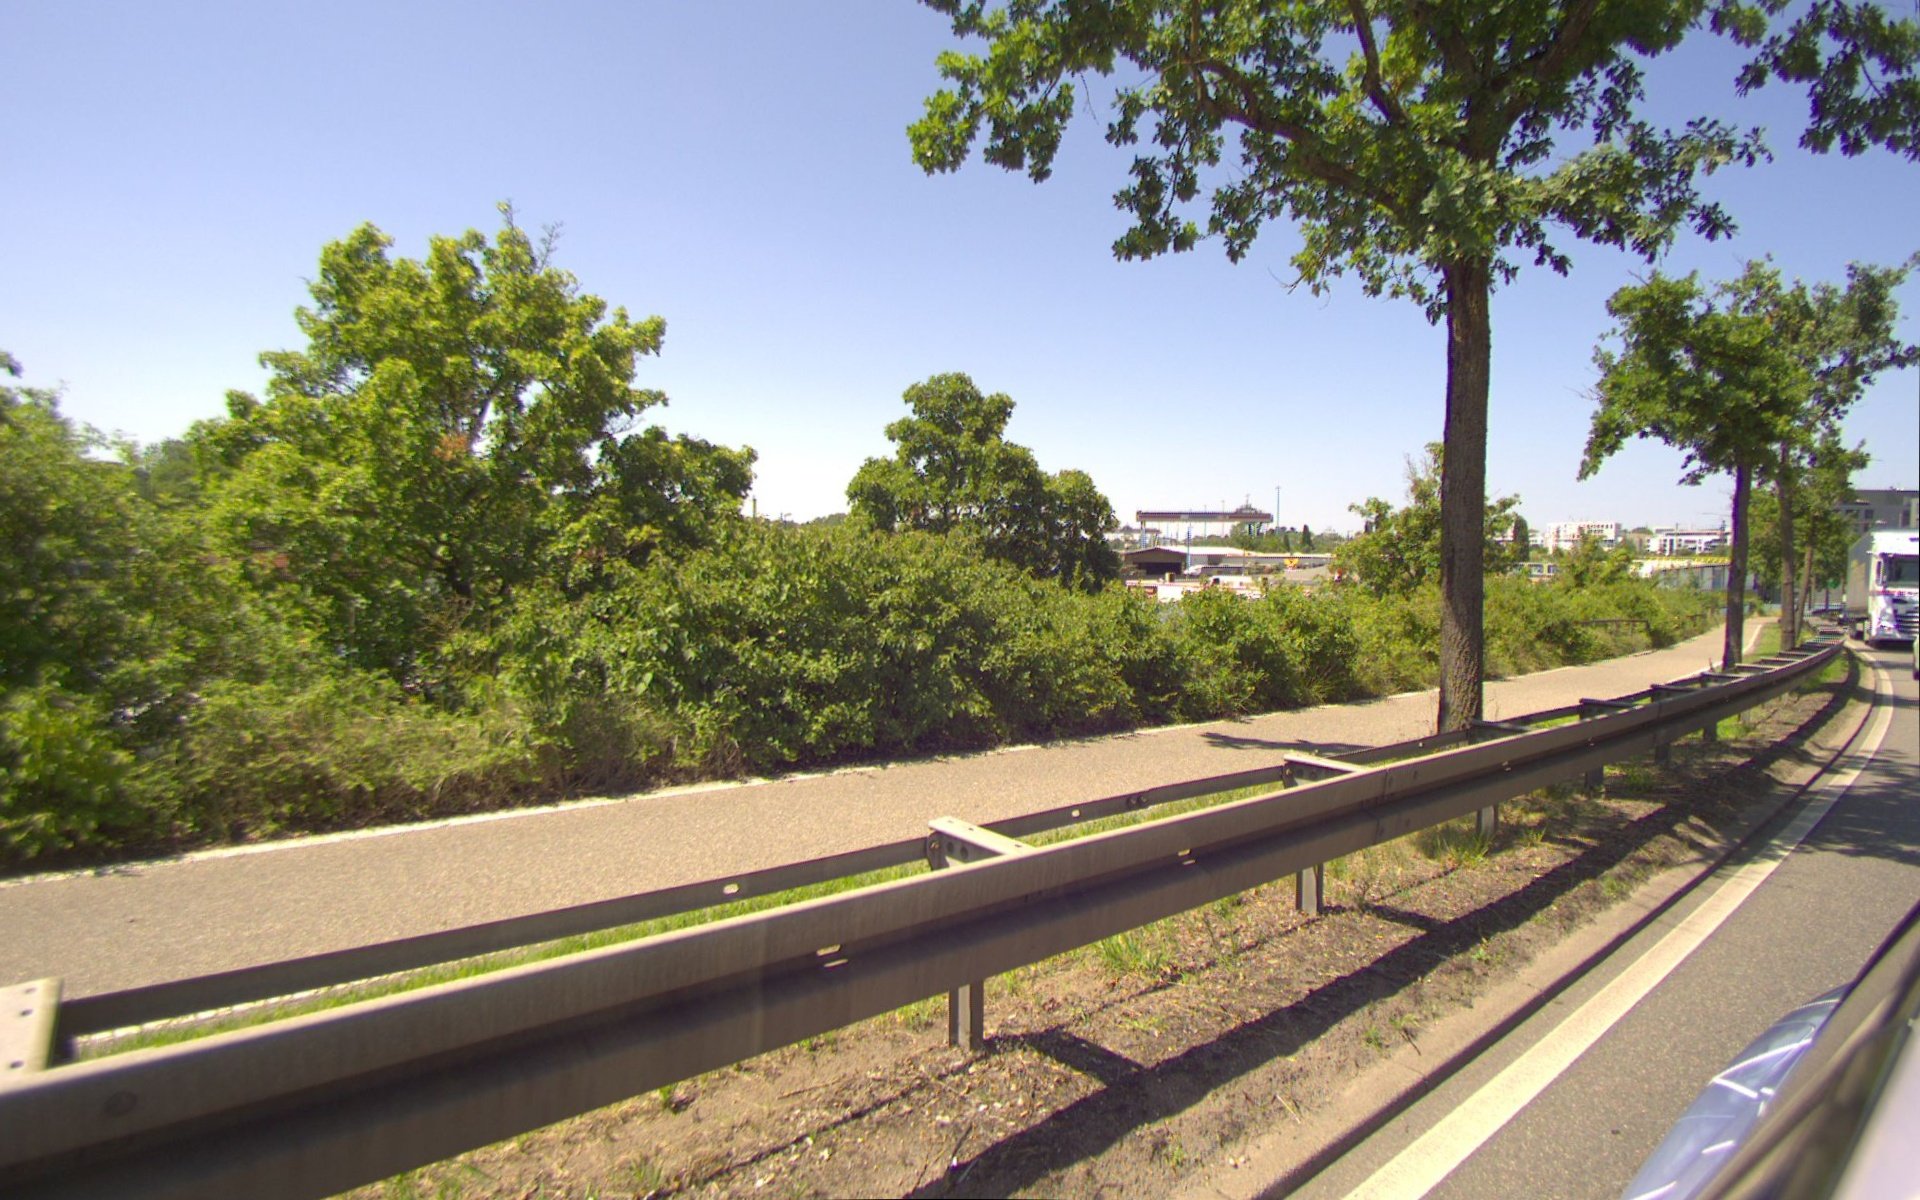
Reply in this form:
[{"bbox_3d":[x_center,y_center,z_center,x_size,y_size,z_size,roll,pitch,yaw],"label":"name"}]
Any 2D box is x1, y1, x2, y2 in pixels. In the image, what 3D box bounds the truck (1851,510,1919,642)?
[{"bbox_3d":[36.506,-0.814,38.594,3.057,4.223,16.672,0,0,39],"label":"truck"}]
